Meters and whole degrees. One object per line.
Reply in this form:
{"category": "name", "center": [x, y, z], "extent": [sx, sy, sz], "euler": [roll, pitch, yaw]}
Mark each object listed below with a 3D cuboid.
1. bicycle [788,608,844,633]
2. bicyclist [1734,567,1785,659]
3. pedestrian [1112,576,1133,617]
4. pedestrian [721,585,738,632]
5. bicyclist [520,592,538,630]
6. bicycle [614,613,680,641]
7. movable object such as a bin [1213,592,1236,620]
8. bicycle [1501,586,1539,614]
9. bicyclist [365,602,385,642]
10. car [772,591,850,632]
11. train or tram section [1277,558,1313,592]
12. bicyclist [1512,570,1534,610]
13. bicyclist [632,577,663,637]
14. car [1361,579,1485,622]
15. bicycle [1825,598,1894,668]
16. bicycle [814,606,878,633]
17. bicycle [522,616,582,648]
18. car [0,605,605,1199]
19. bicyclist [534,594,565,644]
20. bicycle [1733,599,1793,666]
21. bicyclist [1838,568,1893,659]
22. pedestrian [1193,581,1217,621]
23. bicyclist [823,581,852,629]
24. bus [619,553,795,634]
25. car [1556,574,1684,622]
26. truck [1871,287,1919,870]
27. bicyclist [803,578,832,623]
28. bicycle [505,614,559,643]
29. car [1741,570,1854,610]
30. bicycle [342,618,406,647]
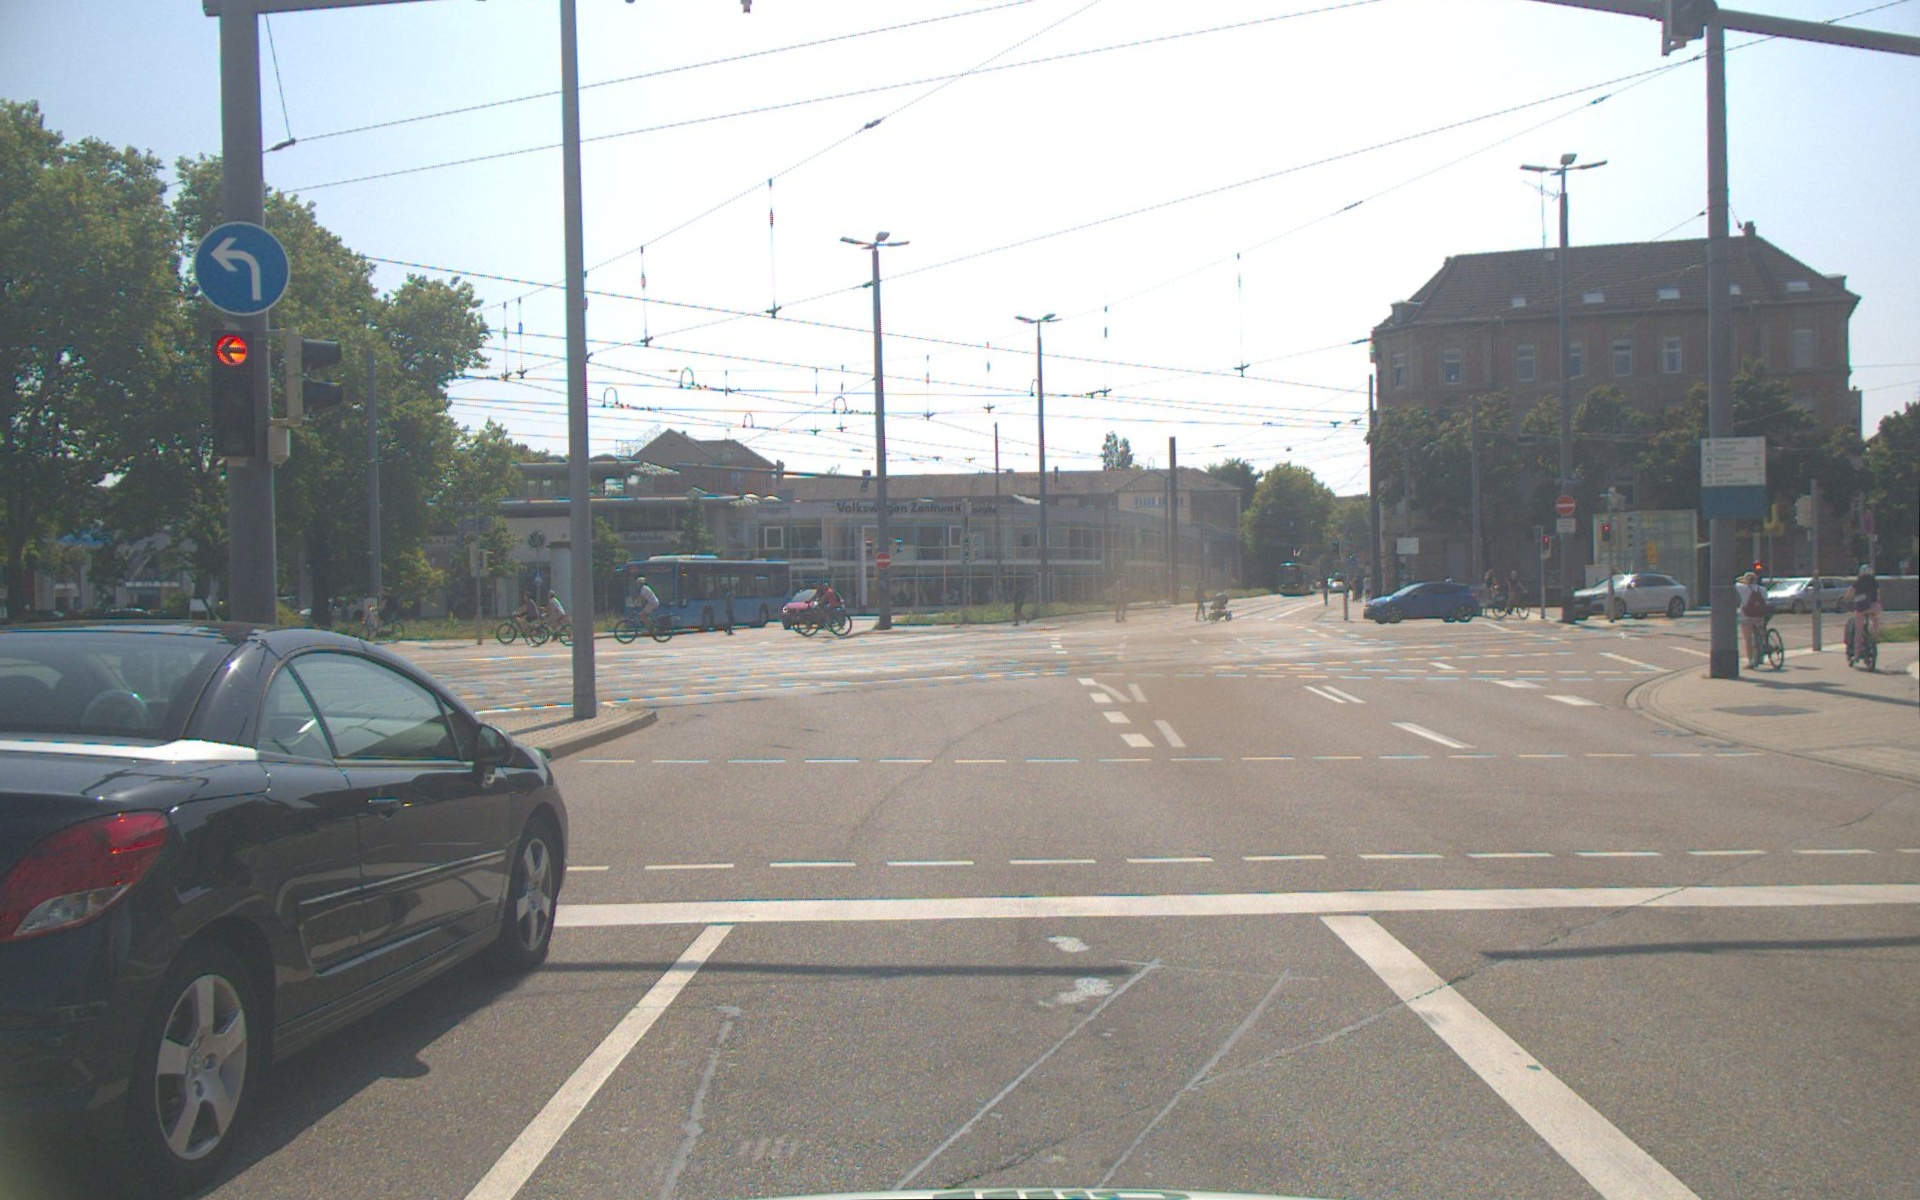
{"category": "bicycle", "center": [-4.935, 0.692, 56.842], "extent": [1.828, 0.816, 0.605], "euler": [-1, 0, -19]}
{"category": "bicyclist", "center": [13.635, 0.216, 28.225], "extent": [0.614, 1.544, 0.712], "euler": [-1, 0, 12]}
{"category": "pedestrian", "center": [6.511, -0.147, 66.355], "extent": [0.686, 1.631, 0.572], "euler": [-1, 0, -8]}
{"category": "pedestrian", "center": [-8.432, 0.310, 60.535], "extent": [0.544, 1.713, 0.452], "euler": [-1, 0, -19]}
{"category": "bicyclist", "center": [-15.085, 0.397, 57.912], "extent": [0.535, 1.316, 0.557], "euler": [-1, 0, -11]}
{"category": "bicycle", "center": [-9.788, 0.836, 51.700], "extent": [2.013, 0.816, 0.478], "euler": [-1, 0, -13]}
{"category": "movable object such as a bin", "center": [10.754, 0.250, 67.195], "extent": [0.798, 1.096, 0.510], "euler": [-1, 0, -11]}
{"category": "bicycle", "center": [21.856, -0.014, 64.552], "extent": [0.462, 1.073, 1.644], "euler": [-1, 0, -20]}
{"category": "bicyclist", "center": [-19.950, 0.747, 56.412], "extent": [0.535, 1.316, 0.557], "euler": [-1, 0, -11]}
{"category": "car", "center": [-6.049, 0.438, 67.452], "extent": [1.713, 1.579, 4.002], "euler": [-1, 0, 18]}
{"category": "train or tram section", "center": [36.693, -2.713, 180.881], "extent": [2.534, 3.578, 10.903], "euler": [-1, 0, 18]}
{"category": "bicyclist", "center": [21.927, -0.379, 64.377], "extent": [0.603, 1.555, 0.517], "euler": [-1, 0, -24]}
{"category": "bicyclist", "center": [-9.765, 0.212, 51.684], "extent": [0.907, 1.839, 0.496], "euler": [-1, 0, -13]}
{"category": "car", "center": [16.396, 0.010, 58.681], "extent": [3.908, 1.418, 1.595], "euler": [-1, 0, -4]}
{"category": "bicycle", "center": [14.610, 0.519, 26.907], "extent": [0.525, 1.073, 1.655], "euler": [-1, 0, 12]}
{"category": "bicycle", "center": [-3.683, 0.629, 53.375], "extent": [2.013, 0.816, 0.478], "euler": [-1, 0, -13]}
{"category": "bicycle", "center": [-12.904, 0.995, 52.321], "extent": [1.781, 0.958, 0.566], "euler": [-1, 0, -11]}
{"category": "car", "center": [-2.547, 0.754, 5.405], "extent": [1.728, 1.412, 3.783], "euler": [1, 0, 4]}
{"category": "bicyclist", "center": [-12.979, 0.591, 52.310], "extent": [0.893, 1.534, 0.558], "euler": [-1, 0, -10]}
{"category": "bicycle", "center": [13.546, 0.541, 27.941], "extent": [0.525, 1.073, 1.655], "euler": [-1, 0, 12]}
{"category": "bicyclist", "center": [14.512, 0.211, 26.524], "extent": [0.519, 1.417, 0.894], "euler": [-1, 0, 12]}
{"category": "pedestrian", "center": [9.924, 0.040, 67.051], "extent": [0.834, 1.572, 0.528], "euler": [-1, 0, -8]}
{"category": "bicyclist", "center": [-3.953, 0.164, 53.289], "extent": [0.856, 1.509, 0.496], "euler": [-1, 0, -13]}
{"category": "bus", "center": [-10.514, -0.300, 70.617], "extent": [2.508, 3.136, 12.031], "euler": [-1, 0, 17]}
{"category": "car", "center": [24.135, -0.096, 60.504], "extent": [4.255, 1.646, 1.745], "euler": [-1, 0, -18]}
{"category": "truck", "center": [6.384, -0.105, 6.089], "extent": [2.440, 3.189, 6.863], "euler": [-1, 0, 2]}
{"category": "bicyclist", "center": [-4.902, 0.021, 56.841], "extent": [0.857, 1.501, 0.543], "euler": [-1, 0, -18]}
{"category": "bicycle", "center": [-15.003, 1.007, 58.012], "extent": [1.782, 0.958, 0.414], "euler": [-1, 0, -13]}
{"category": "car", "center": [32.352, -0.402, 63.902], "extent": [4.123, 1.440, 1.762], "euler": [-1, 1, -26]}
{"category": "bicycle", "center": [-19.997, 1.106, 56.444], "extent": [1.997, 0.958, 0.466], "euler": [-1, 0, -13]}
